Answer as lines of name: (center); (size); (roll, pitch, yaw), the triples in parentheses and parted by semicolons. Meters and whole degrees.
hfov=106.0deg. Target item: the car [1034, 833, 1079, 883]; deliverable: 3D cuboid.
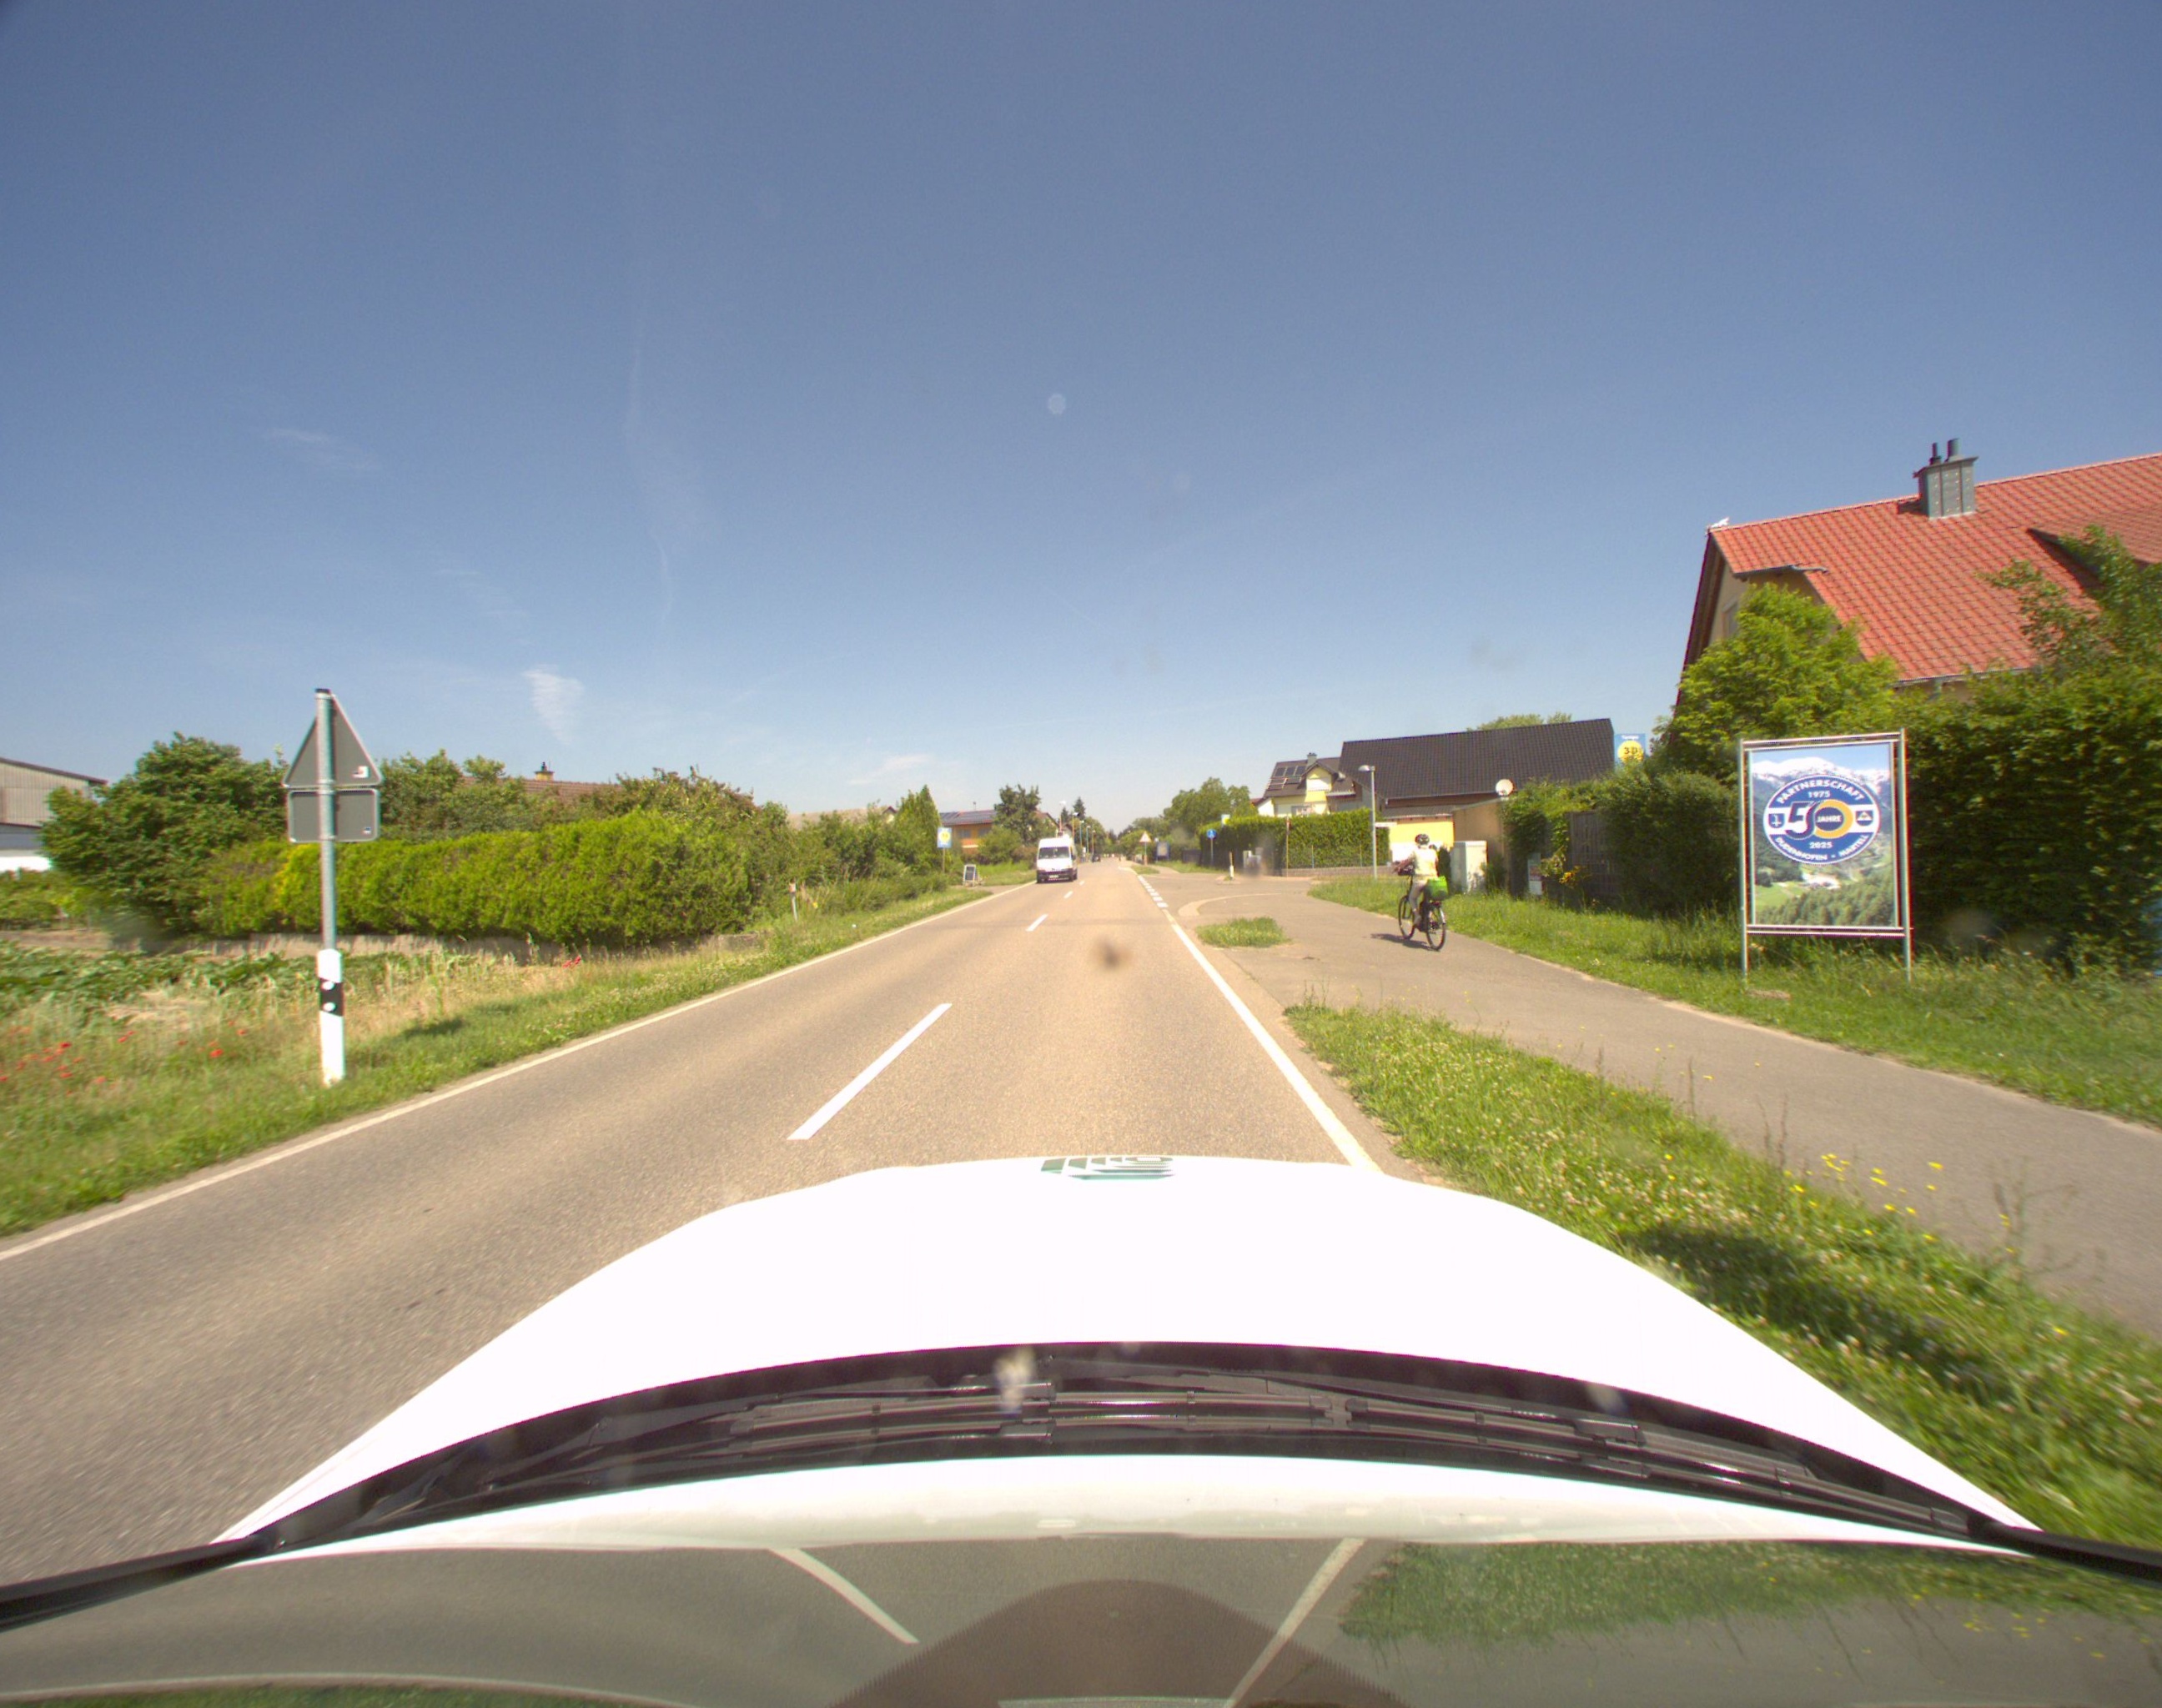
car: (-1.327, 0.204, 46.473); (2.069, 2.542, 5.876); (-3, 0, 2)

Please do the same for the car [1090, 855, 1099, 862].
car: (2.921, 0.916, 173.414); (1.752, 1.385, 3.454); (-3, 0, 2)

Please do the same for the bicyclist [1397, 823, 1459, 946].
bicyclist: (5.507, 0.461, 12.968); (0.642, 1.889, 0.861); (-1, 1, 2)

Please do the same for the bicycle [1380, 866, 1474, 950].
bicycle: (5.522, 0.820, 13.151); (0.608, 1.158, 2.275); (-1, 1, 2)
